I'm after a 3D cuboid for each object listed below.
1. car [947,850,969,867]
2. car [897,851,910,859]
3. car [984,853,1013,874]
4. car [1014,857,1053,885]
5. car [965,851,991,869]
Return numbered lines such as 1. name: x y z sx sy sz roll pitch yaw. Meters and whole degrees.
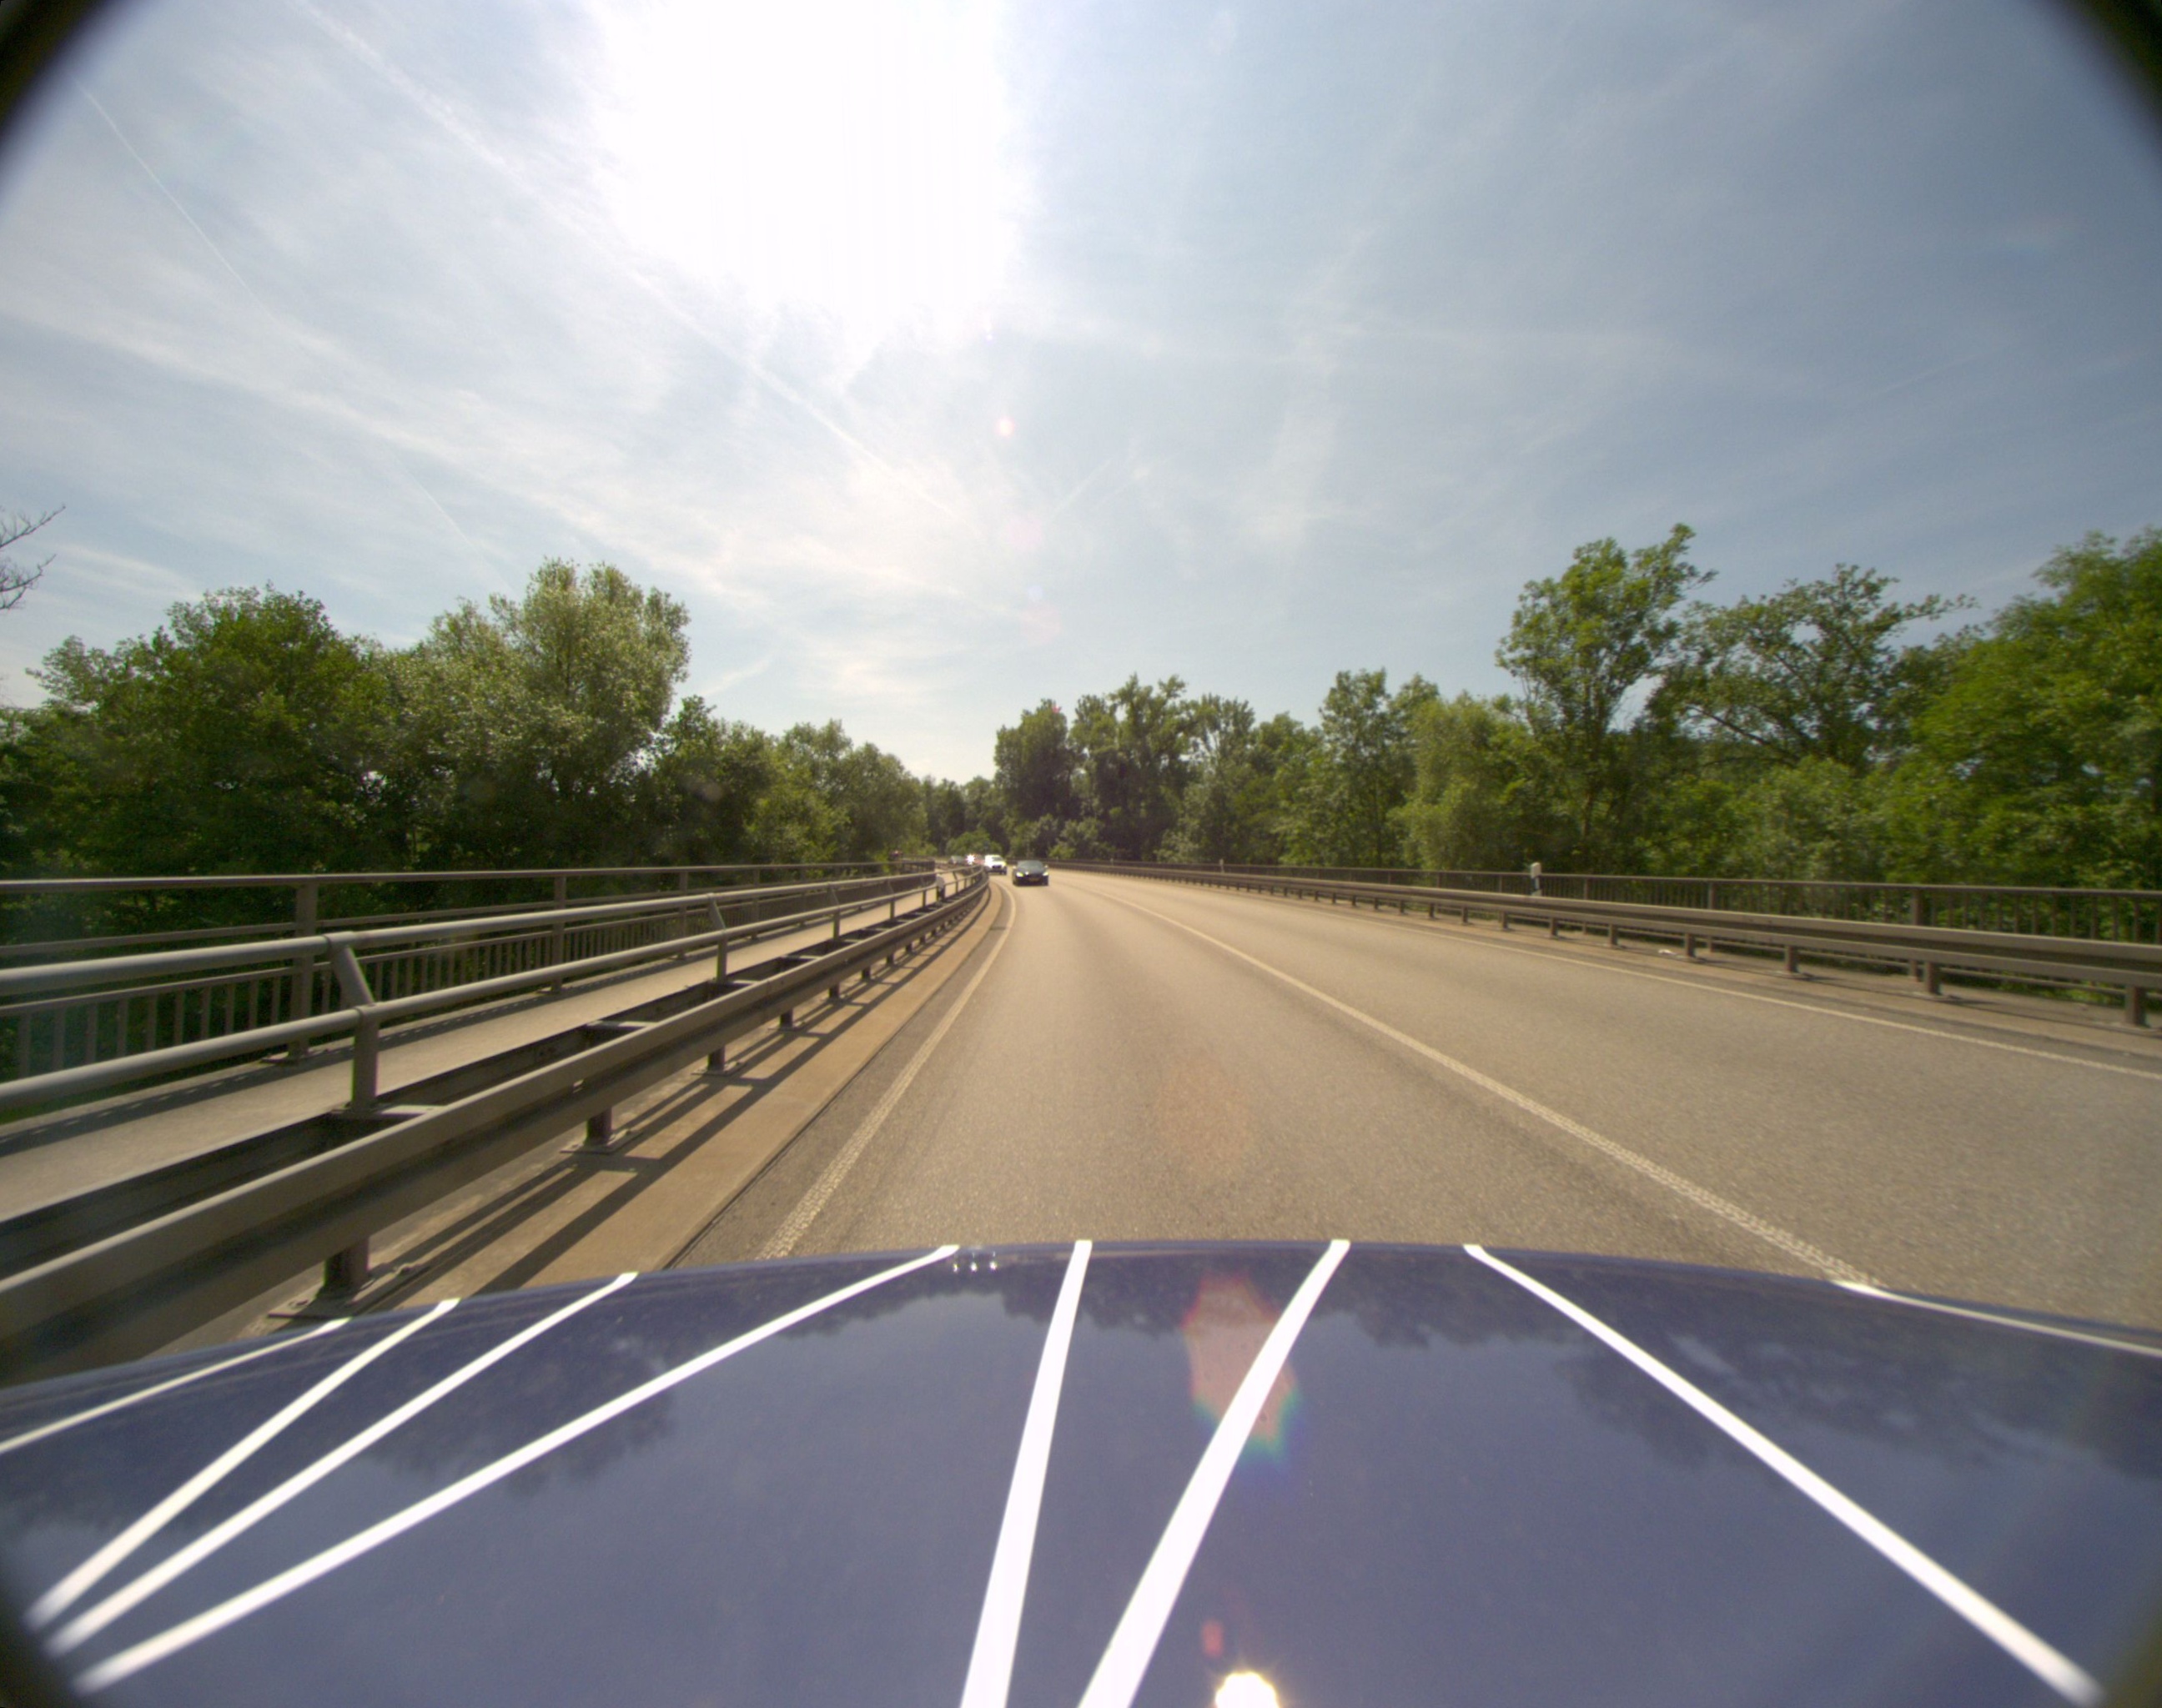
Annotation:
1. car: -14.872 0.506 91.973 2.001 2.002 3.994 -2 1 -17
2. car: -33.912 0.190 145.116 1.826 1.514 3.943 -1 0 -23
3. car: -7.075 0.777 64.756 1.911 1.638 3.945 -2 1 -13
4. car: -2.723 0.948 42.917 1.910 1.413 3.947 -2 1 -7
5. car: -10.593 0.616 77.794 2.001 1.765 3.994 -2 1 -16
